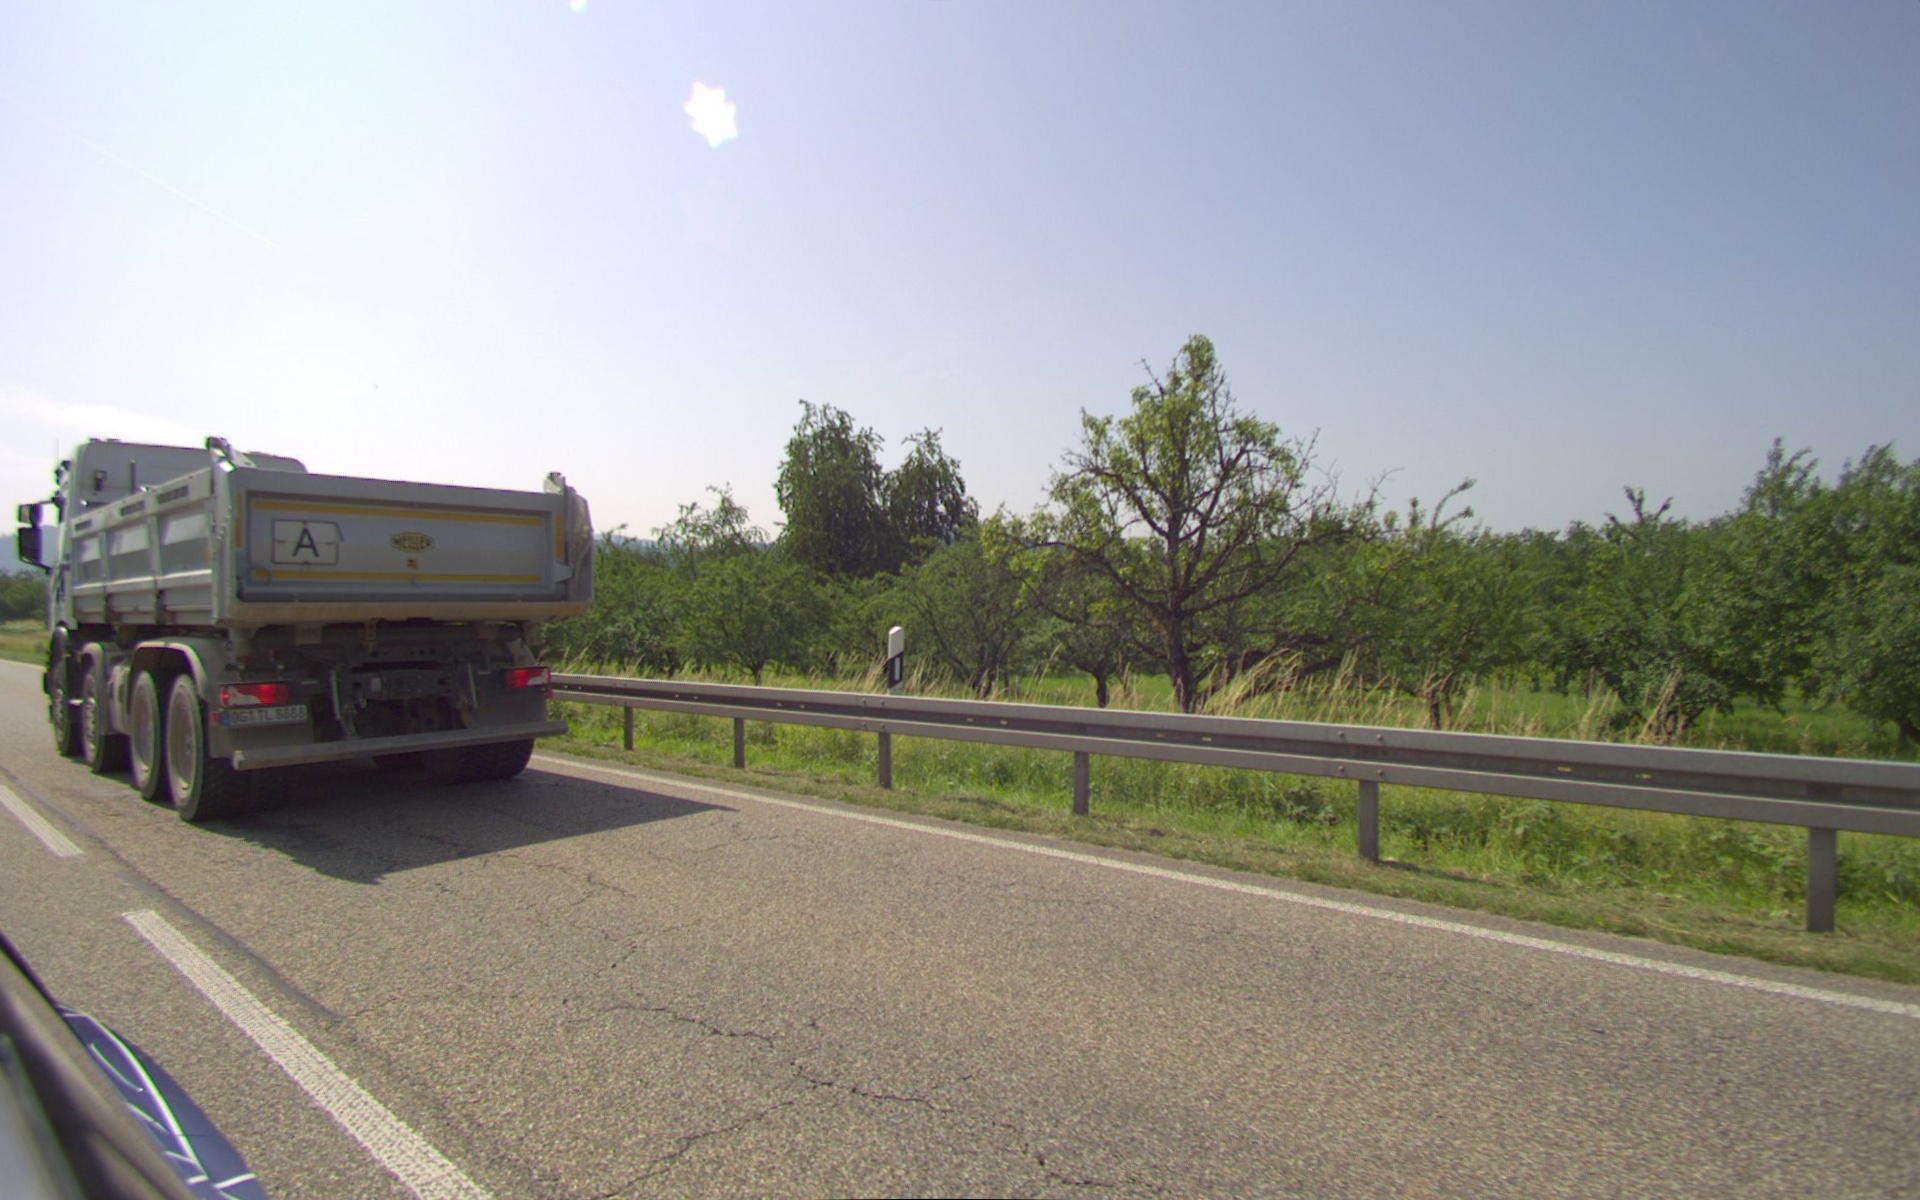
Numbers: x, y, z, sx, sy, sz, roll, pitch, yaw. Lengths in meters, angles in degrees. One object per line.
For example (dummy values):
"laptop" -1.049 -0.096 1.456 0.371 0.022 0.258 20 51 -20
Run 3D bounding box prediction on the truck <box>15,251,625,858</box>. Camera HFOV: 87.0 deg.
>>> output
"truck" -7.132 -0.229 10.288 9.378 3.699 2.700 -1 -1 41
